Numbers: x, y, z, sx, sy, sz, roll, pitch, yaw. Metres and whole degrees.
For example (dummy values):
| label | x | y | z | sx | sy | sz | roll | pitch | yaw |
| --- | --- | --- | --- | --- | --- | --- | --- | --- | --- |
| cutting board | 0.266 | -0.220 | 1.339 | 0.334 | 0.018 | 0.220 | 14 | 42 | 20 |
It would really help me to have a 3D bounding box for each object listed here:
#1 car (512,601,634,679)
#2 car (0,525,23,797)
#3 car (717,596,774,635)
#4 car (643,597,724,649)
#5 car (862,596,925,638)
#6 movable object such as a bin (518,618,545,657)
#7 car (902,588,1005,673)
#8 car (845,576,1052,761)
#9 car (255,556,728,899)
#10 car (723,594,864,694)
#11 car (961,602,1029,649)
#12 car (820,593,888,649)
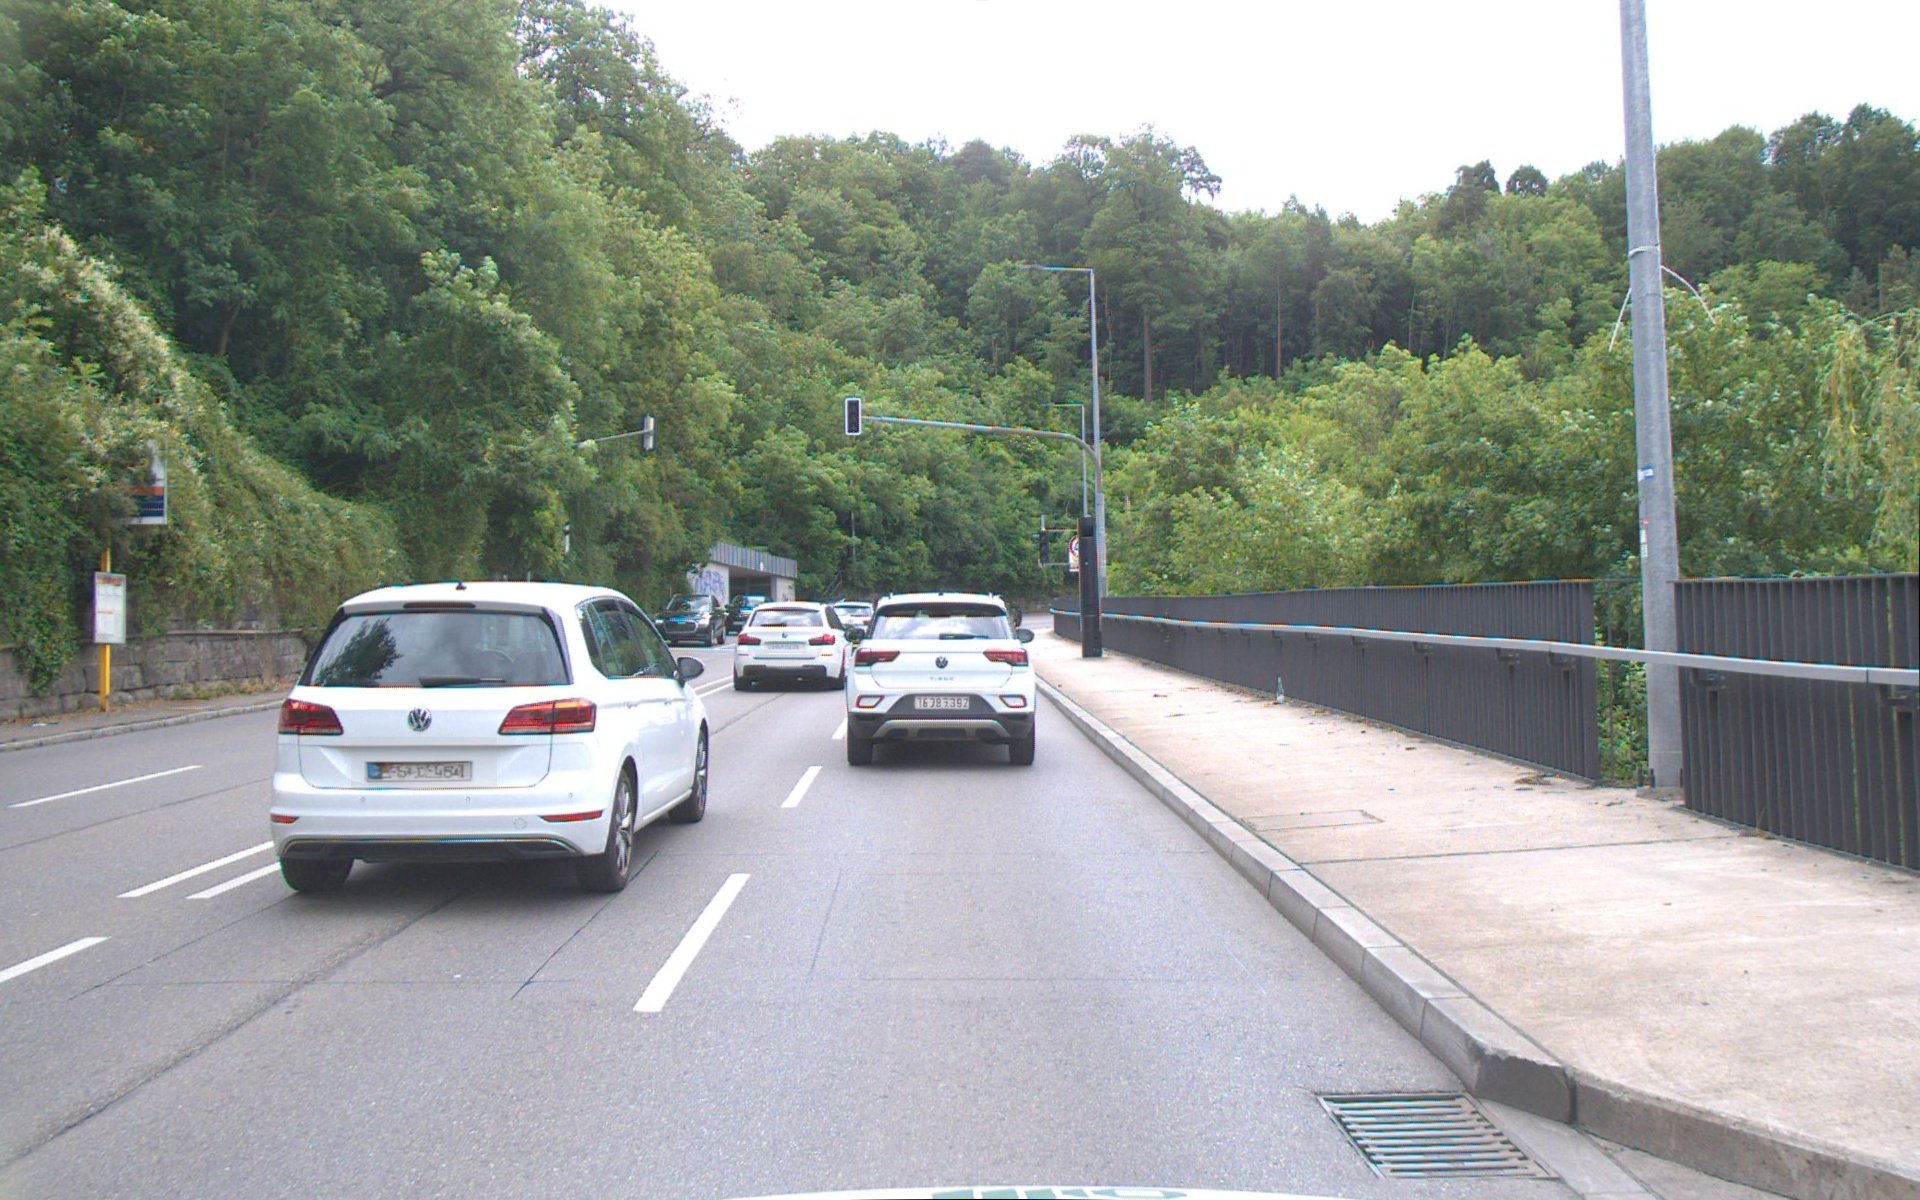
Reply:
| label | x | y | z | sx | sy | sz | roll | pitch | yaw |
| --- | --- | --- | --- | --- | --- | --- | --- | --- | --- |
| car | -8.420 | 0.821 | 36.329 | 1.642 | 1.467 | 4.234 | 1 | 1 | 0 |
| car | -8.143 | 0.456 | 10.053 | 1.882 | 2.040 | 5.355 | -1 | 0 | -1 |
| car | -8.607 | 0.594 | 66.676 | 1.745 | 1.508 | 4.210 | 1 | 0 | -1 |
| car | -8.802 | 0.723 | 53.001 | 1.902 | 1.576 | 4.248 | -1 | -1 | -1 |
| car | -2.861 | 0.721 | 71.998 | 1.951 | 1.771 | 4.003 | 0 | 0 | 9 |
| movable object such as a bin | -12.249 | 1.064 | 47.264 | 0.629 | 1.086 | 0.556 | 1 | -1 | -2 |
| car | -0.086 | 0.704 | 39.169 | 1.951 | 1.875 | 4.153 | 1 | -1 | 6 |
| car | -0.183 | 0.624 | 16.382 | 1.777 | 1.566 | 4.006 | -1 | -1 | -3 |
| car | -2.469 | 0.598 | 9.813 | 1.685 | 1.581 | 4.274 | 0 | 0 | -2 |
| car | -2.805 | 0.708 | 28.892 | 1.952 | 1.585 | 4.681 | 0 | 0 | 0 |
| car | 1.644 | 1.172 | 76.299 | 1.952 | 2.049 | 4.001 | 1 | -1 | 19 |
| car | -3.249 | 0.646 | 51.220 | 1.824 | 1.623 | 3.999 | 1 | -1 | 0 |
